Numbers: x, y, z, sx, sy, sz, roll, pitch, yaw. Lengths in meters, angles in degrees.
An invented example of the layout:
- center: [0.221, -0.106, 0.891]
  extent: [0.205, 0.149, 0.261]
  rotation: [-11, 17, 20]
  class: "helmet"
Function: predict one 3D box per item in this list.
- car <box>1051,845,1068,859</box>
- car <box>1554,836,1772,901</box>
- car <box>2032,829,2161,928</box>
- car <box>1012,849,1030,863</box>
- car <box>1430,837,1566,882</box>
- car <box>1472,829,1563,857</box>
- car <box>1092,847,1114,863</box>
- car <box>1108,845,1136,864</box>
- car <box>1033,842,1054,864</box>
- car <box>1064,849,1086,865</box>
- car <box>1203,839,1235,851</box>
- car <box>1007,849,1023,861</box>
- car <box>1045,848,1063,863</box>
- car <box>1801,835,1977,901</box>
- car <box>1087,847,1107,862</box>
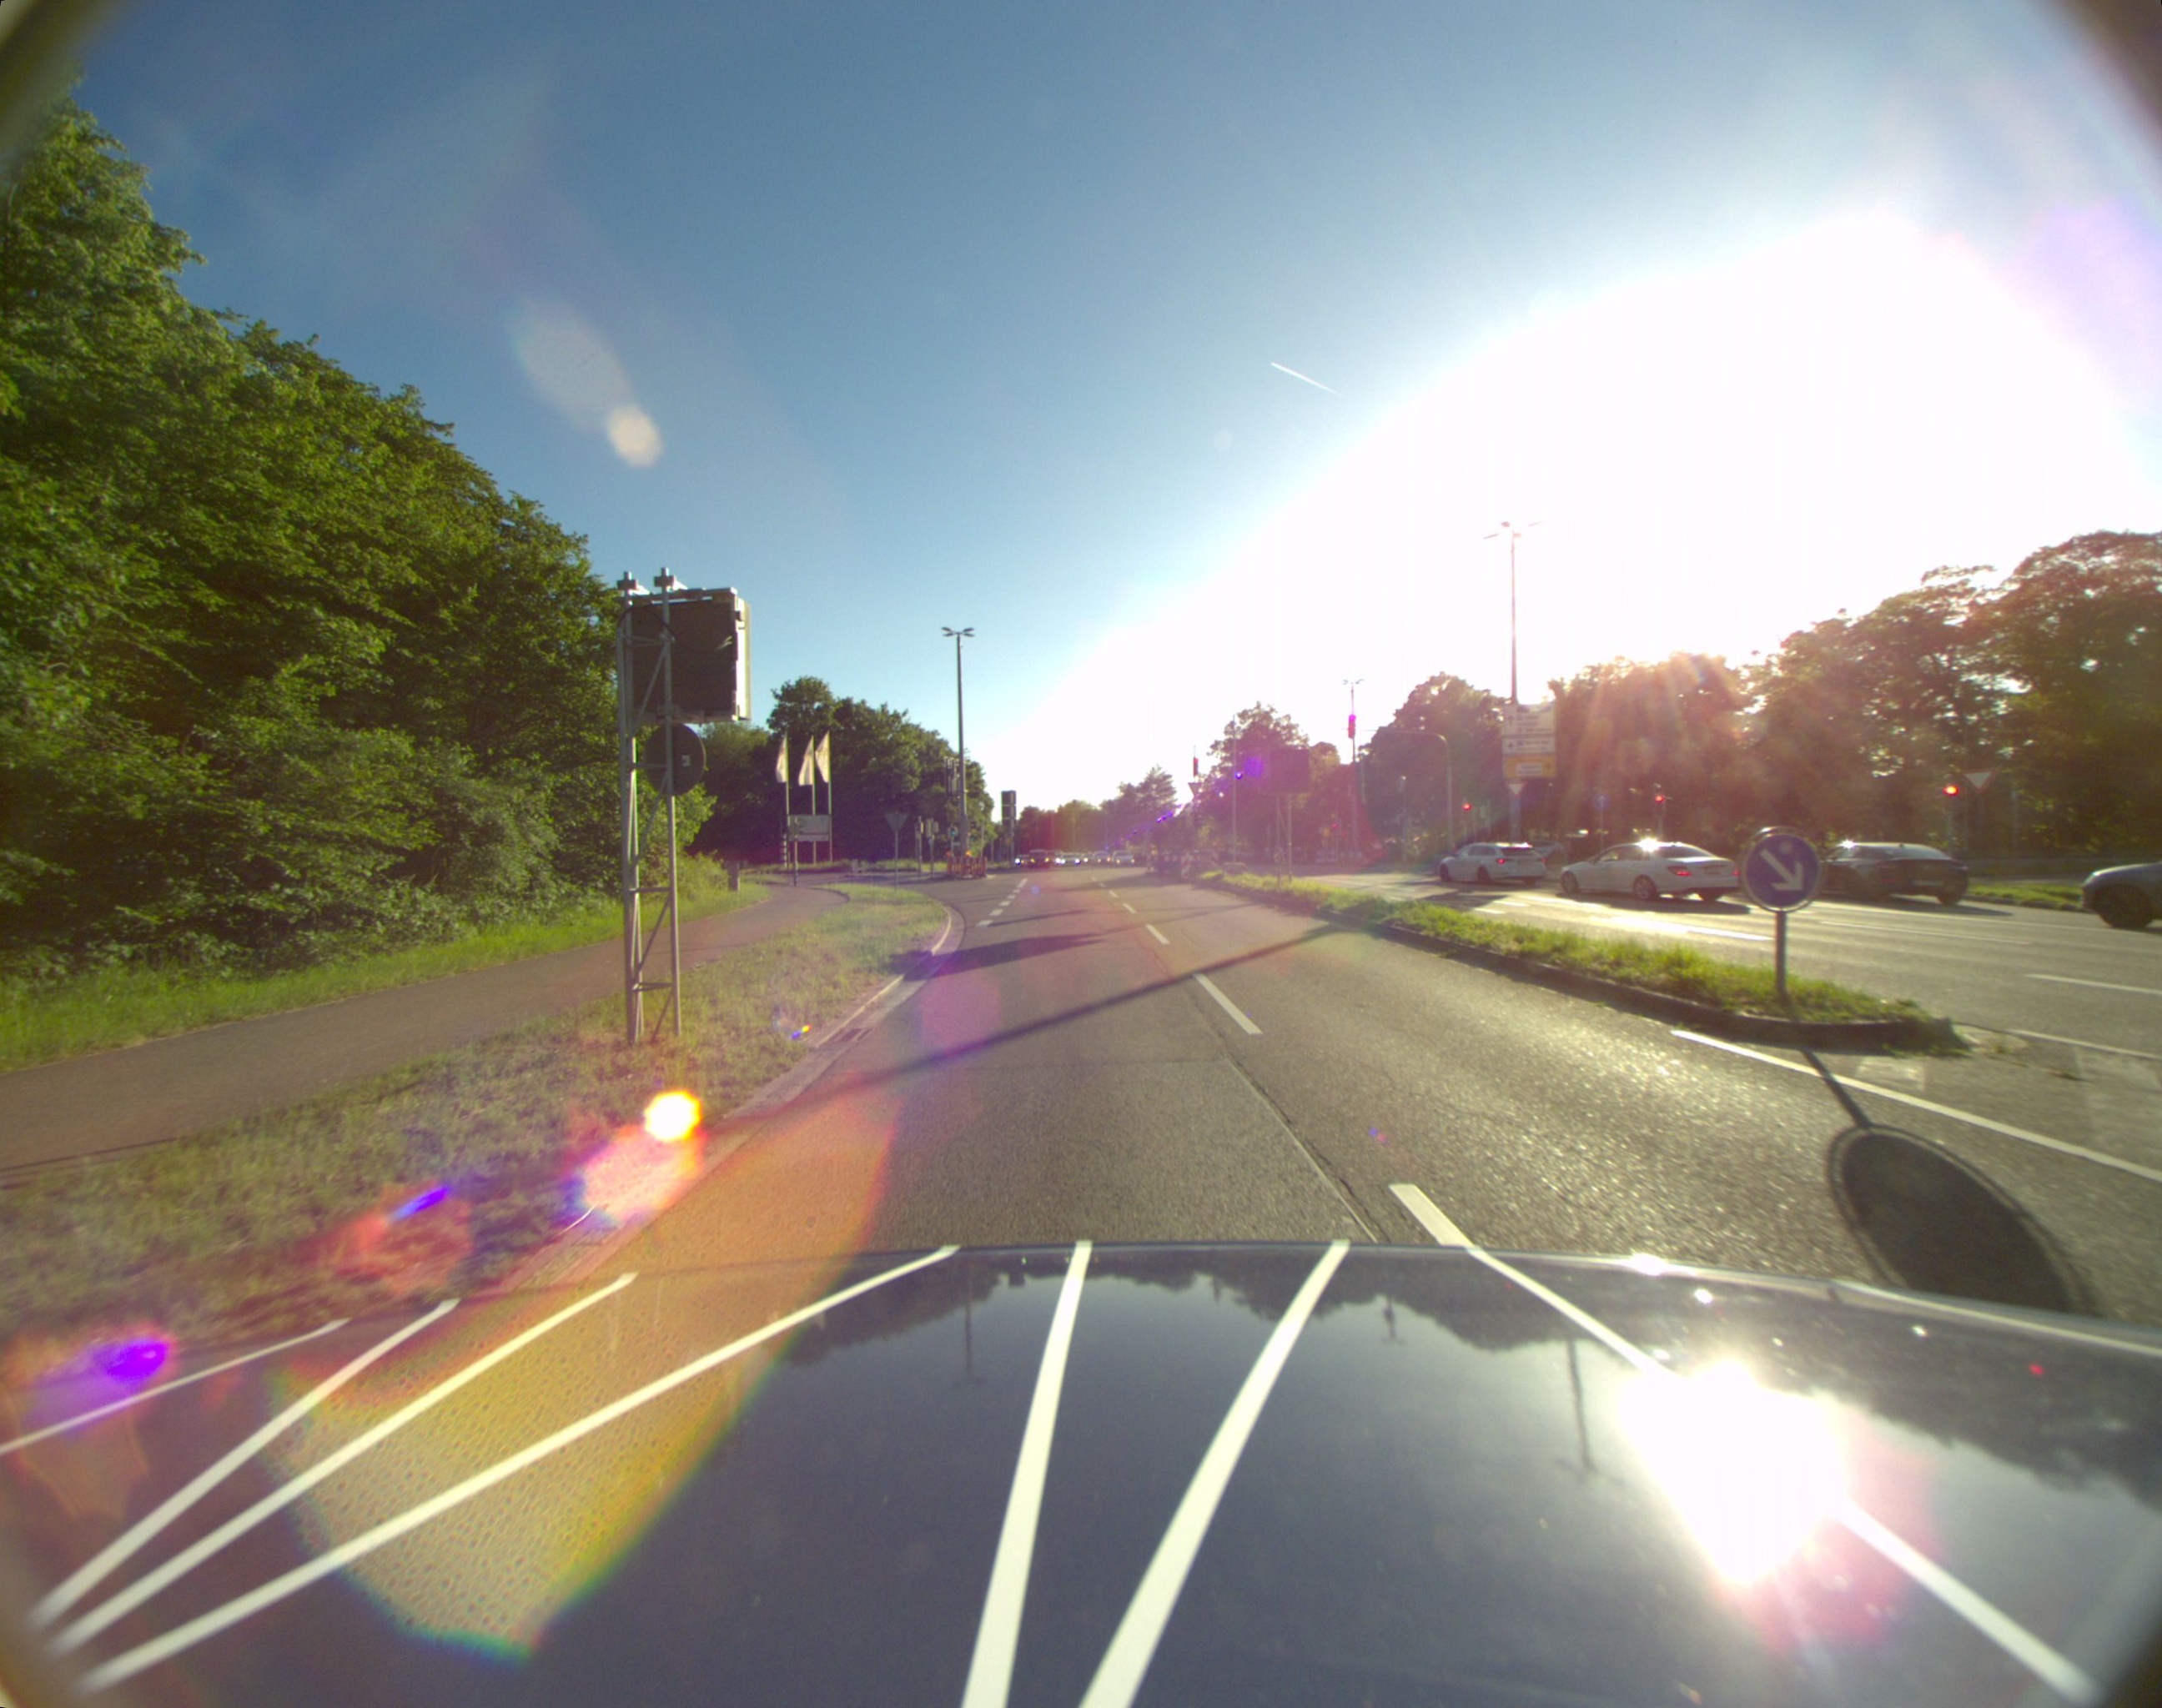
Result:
- center: [-2.813, -0.266, 97.597]
  extent: [1.999, 1.510, 3.997]
  rotation: [-3, 2, -3]
  class: "car"
- center: [14.578, 0.285, 19.480]
  extent: [1.999, 1.442, 4.646]
  rotation: [-1, 1, 0]
  class: "car"
- center: [18.016, 0.412, 11.291]
  extent: [1.998, 1.555, 4.648]
  rotation: [1, 1, 2]
  class: "car"
- center: [-7.390, 0.190, 93.583]
  extent: [1.999, 1.510, 3.997]
  rotation: [-3, 2, -3]
  class: "car"
- center: [14.621, 0.149, 27.037]
  extent: [1.999, 1.442, 4.840]
  rotation: [-1, 1, -3]
  class: "car"
- center: [28.668, -0.736, 50.041]
  extent: [4.735, 1.677, 2.001]
  rotation: [-2, 1, 9]
  class: "car"
- center: [2.303, 0.068, 80.925]
  extent: [1.999, 1.510, 3.997]
  rotation: [-3, 2, -3]
  class: "car"
- center: [3.557, 0.018, 66.872]
  extent: [1.999, 1.510, 3.998]
  rotation: [-2, 1, -3]
  class: "car"
- center: [-3.840, -0.096, 78.423]
  extent: [1.999, 2.057, 3.997]
  rotation: [-3, 2, -3]
  class: "car"
- center: [-0.669, 0.293, 78.502]
  extent: [1.999, 1.510, 3.997]
  rotation: [-3, 2, -3]
  class: "car"
- center: [19.945, -1.310, 109.670]
  extent: [4.002, 1.510, 1.997]
  rotation: [-3, 2, -15]
  class: "car"
- center: [-9.638, 0.159, 111.221]
  extent: [1.999, 1.510, 3.997]
  rotation: [-3, 2, -3]
  class: "car"
- center: [-3.126, 0.112, 87.164]
  extent: [1.999, 1.510, 3.997]
  rotation: [-3, 2, -3]
  class: "car"
- center: [20.270, 0.280, 19.337]
  extent: [1.994, 1.442, 4.656]
  rotation: [-1, 1, 33]
  class: "car"
- center: [1.834, 0.025, 87.664]
  extent: [1.999, 1.510, 3.997]
  rotation: [-3, 2, -3]
  class: "car"
